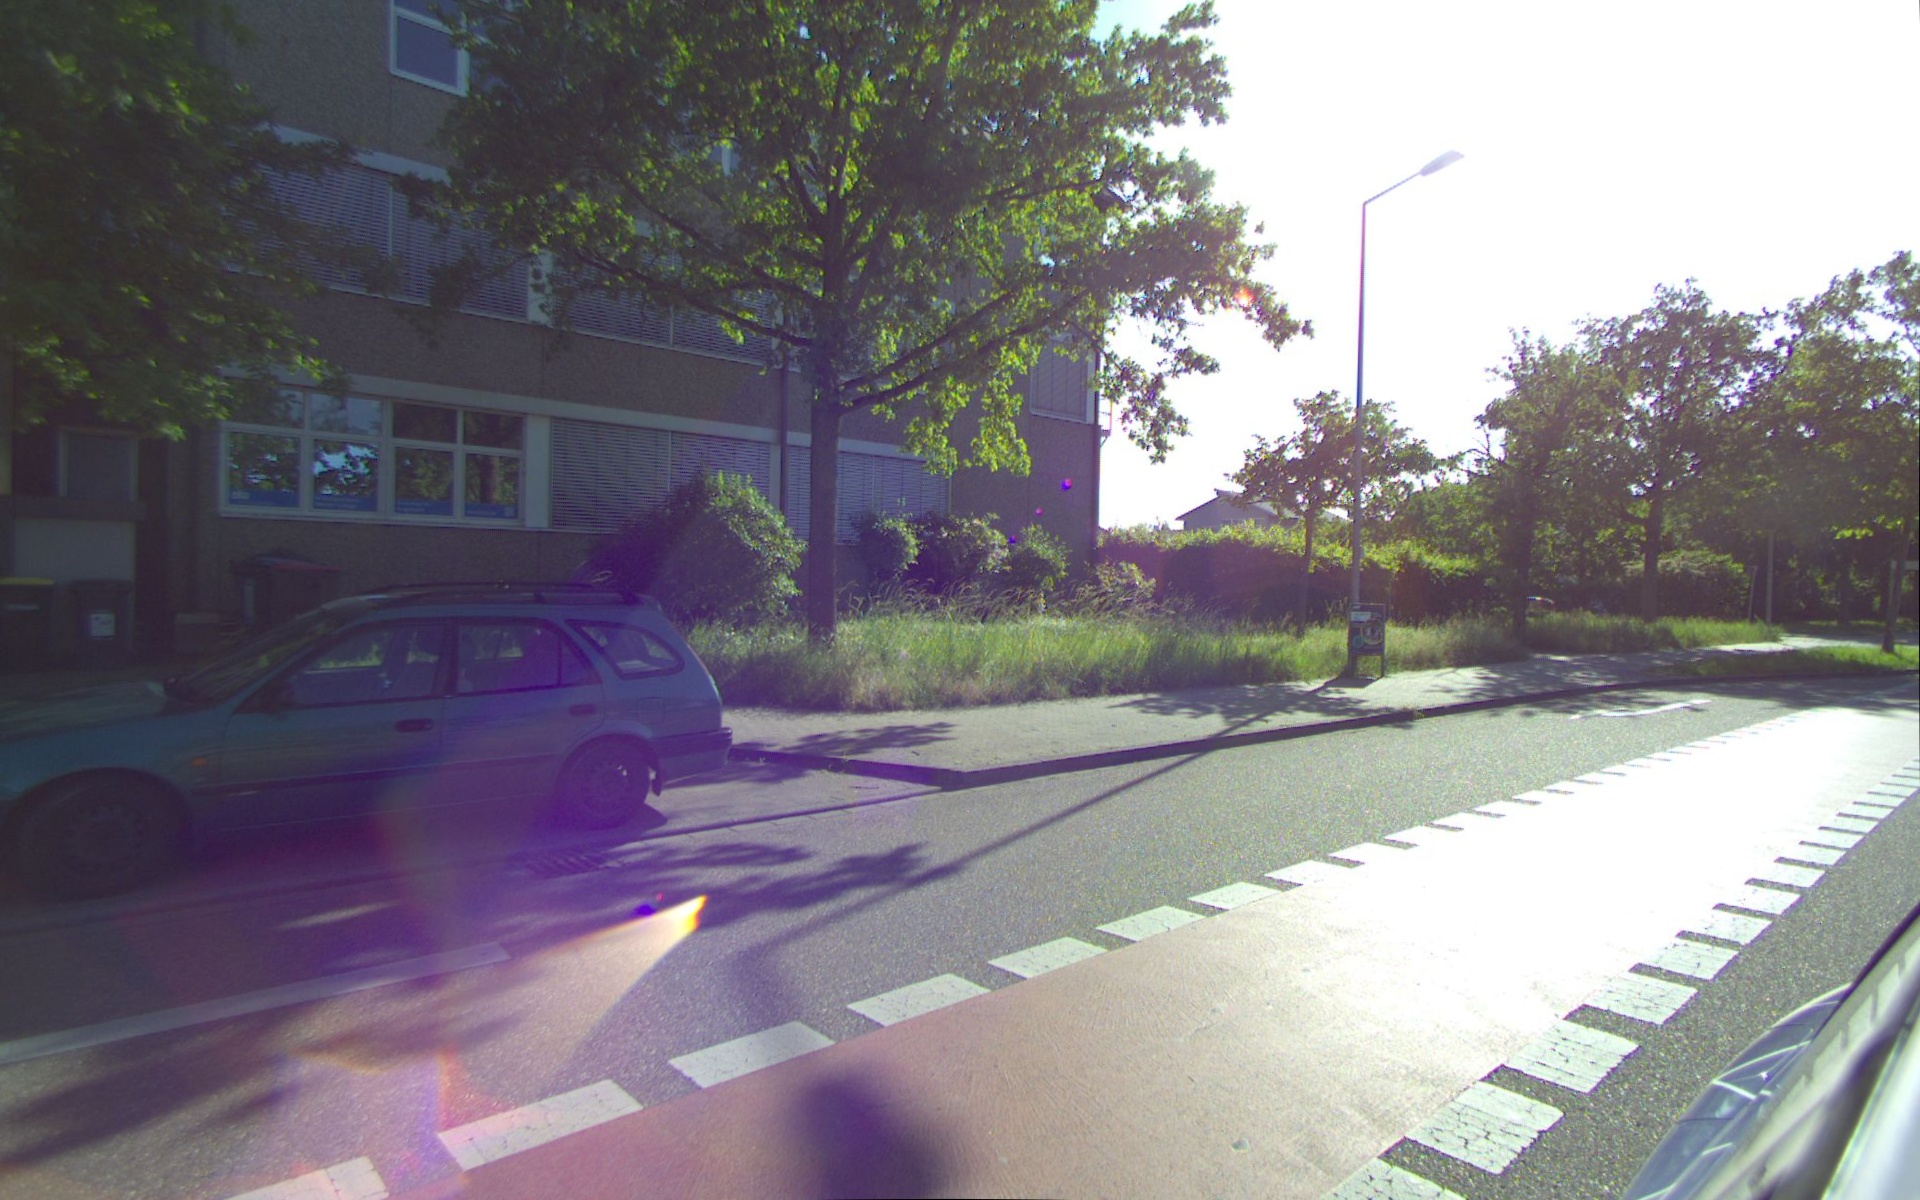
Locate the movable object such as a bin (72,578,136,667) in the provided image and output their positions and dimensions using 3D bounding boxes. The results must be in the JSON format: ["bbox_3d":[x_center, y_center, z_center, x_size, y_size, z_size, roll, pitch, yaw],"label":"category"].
[{"bbox_3d":[-10.158,0.246,12.016,0.566,1.020,0.629,0,1,-41],"label":"movable object such as a bin"}]

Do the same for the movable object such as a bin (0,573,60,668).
[{"bbox_3d":[-10.642,0.220,11.520,0.571,1.045,0.713,1,1,-41],"label":"movable object such as a bin"}]

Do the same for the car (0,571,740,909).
[{"bbox_3d":[-3.573,0.599,6.070,4.129,1.446,1.596,0,3,-40],"label":"car"}]
